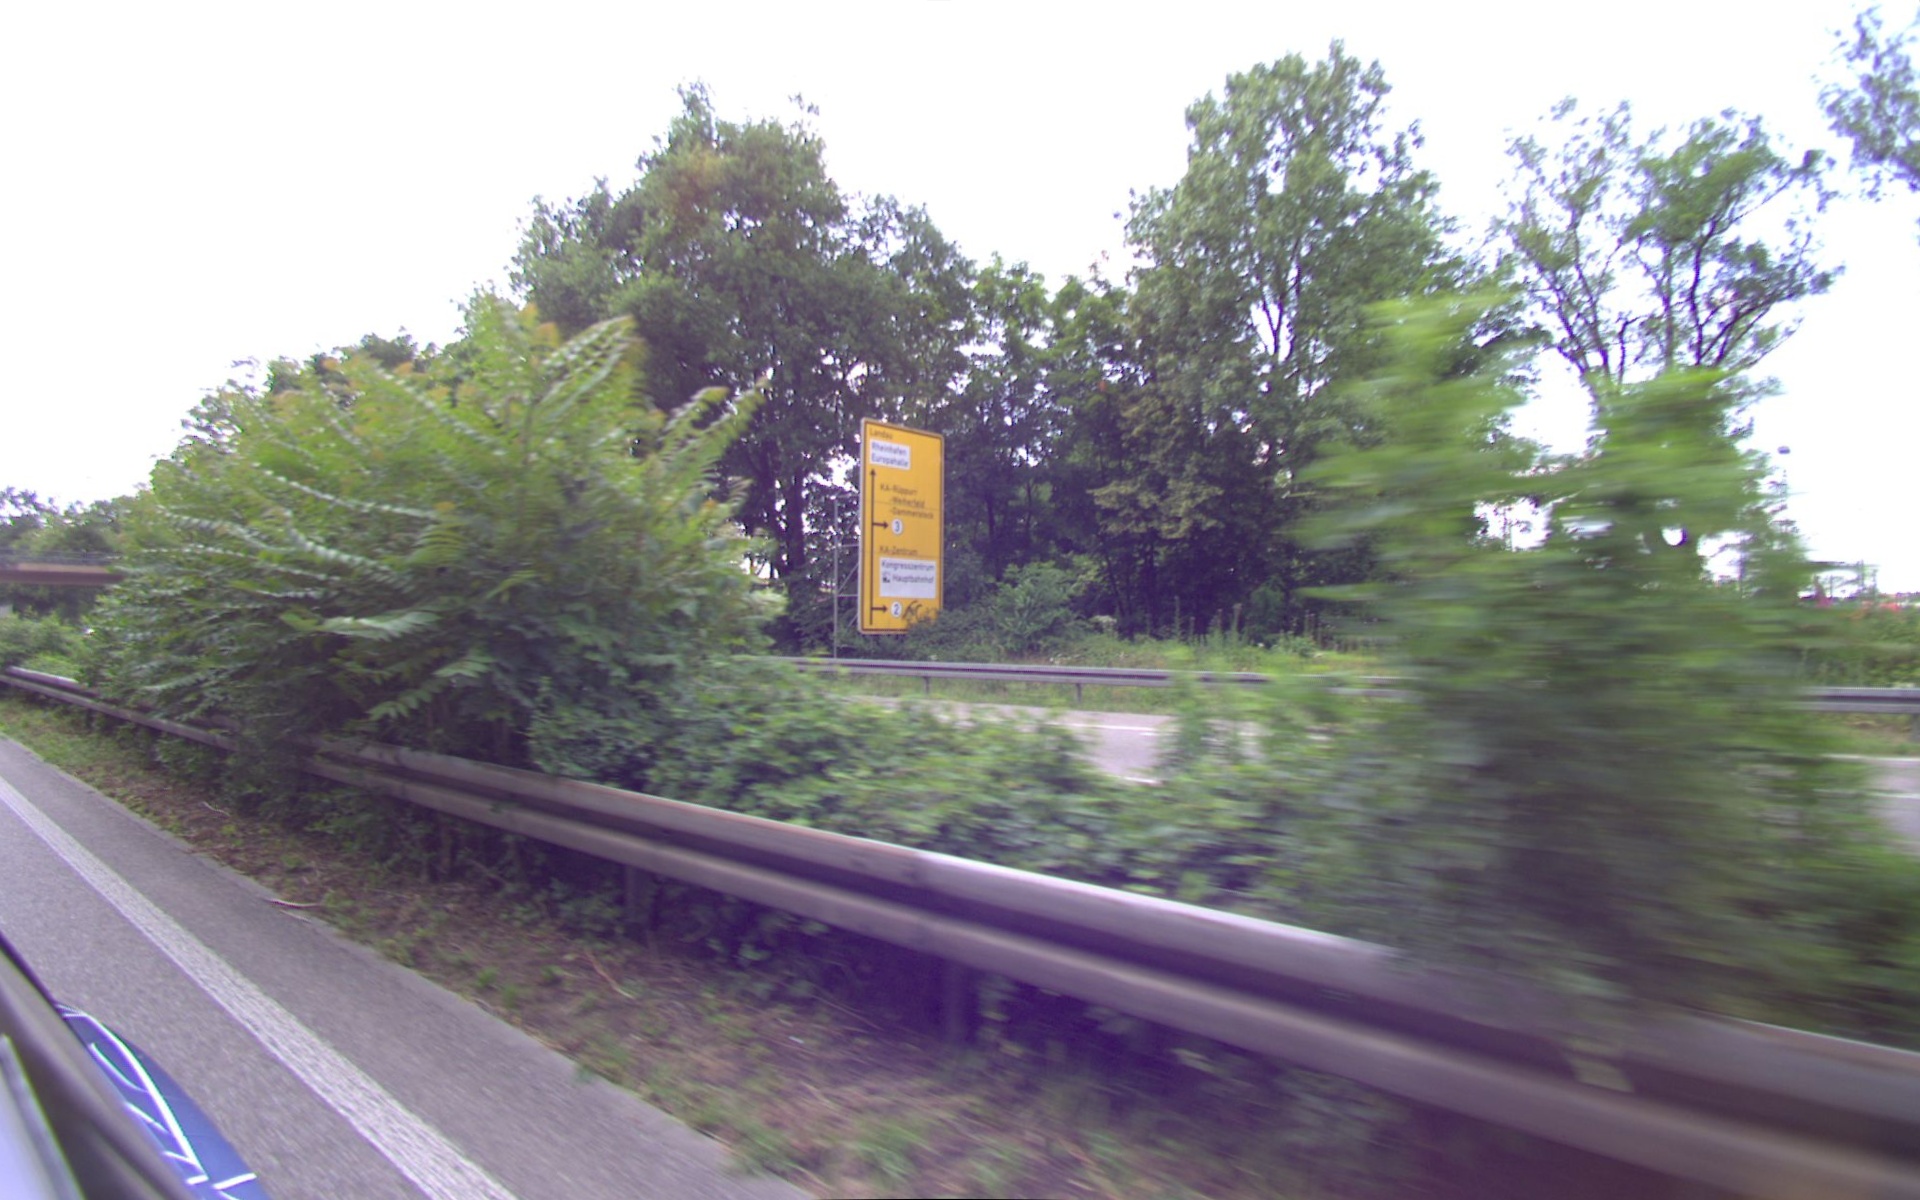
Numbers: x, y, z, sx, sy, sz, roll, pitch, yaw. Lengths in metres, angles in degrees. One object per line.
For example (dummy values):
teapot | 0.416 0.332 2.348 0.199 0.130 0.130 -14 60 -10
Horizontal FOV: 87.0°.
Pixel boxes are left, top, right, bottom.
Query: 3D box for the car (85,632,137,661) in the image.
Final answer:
car | -52.630 2.845 62.706 4.593 1.674 1.809 -2 -1 41

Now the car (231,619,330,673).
car | -24.999 1.668 37.190 4.275 1.884 1.973 -2 -3 41
